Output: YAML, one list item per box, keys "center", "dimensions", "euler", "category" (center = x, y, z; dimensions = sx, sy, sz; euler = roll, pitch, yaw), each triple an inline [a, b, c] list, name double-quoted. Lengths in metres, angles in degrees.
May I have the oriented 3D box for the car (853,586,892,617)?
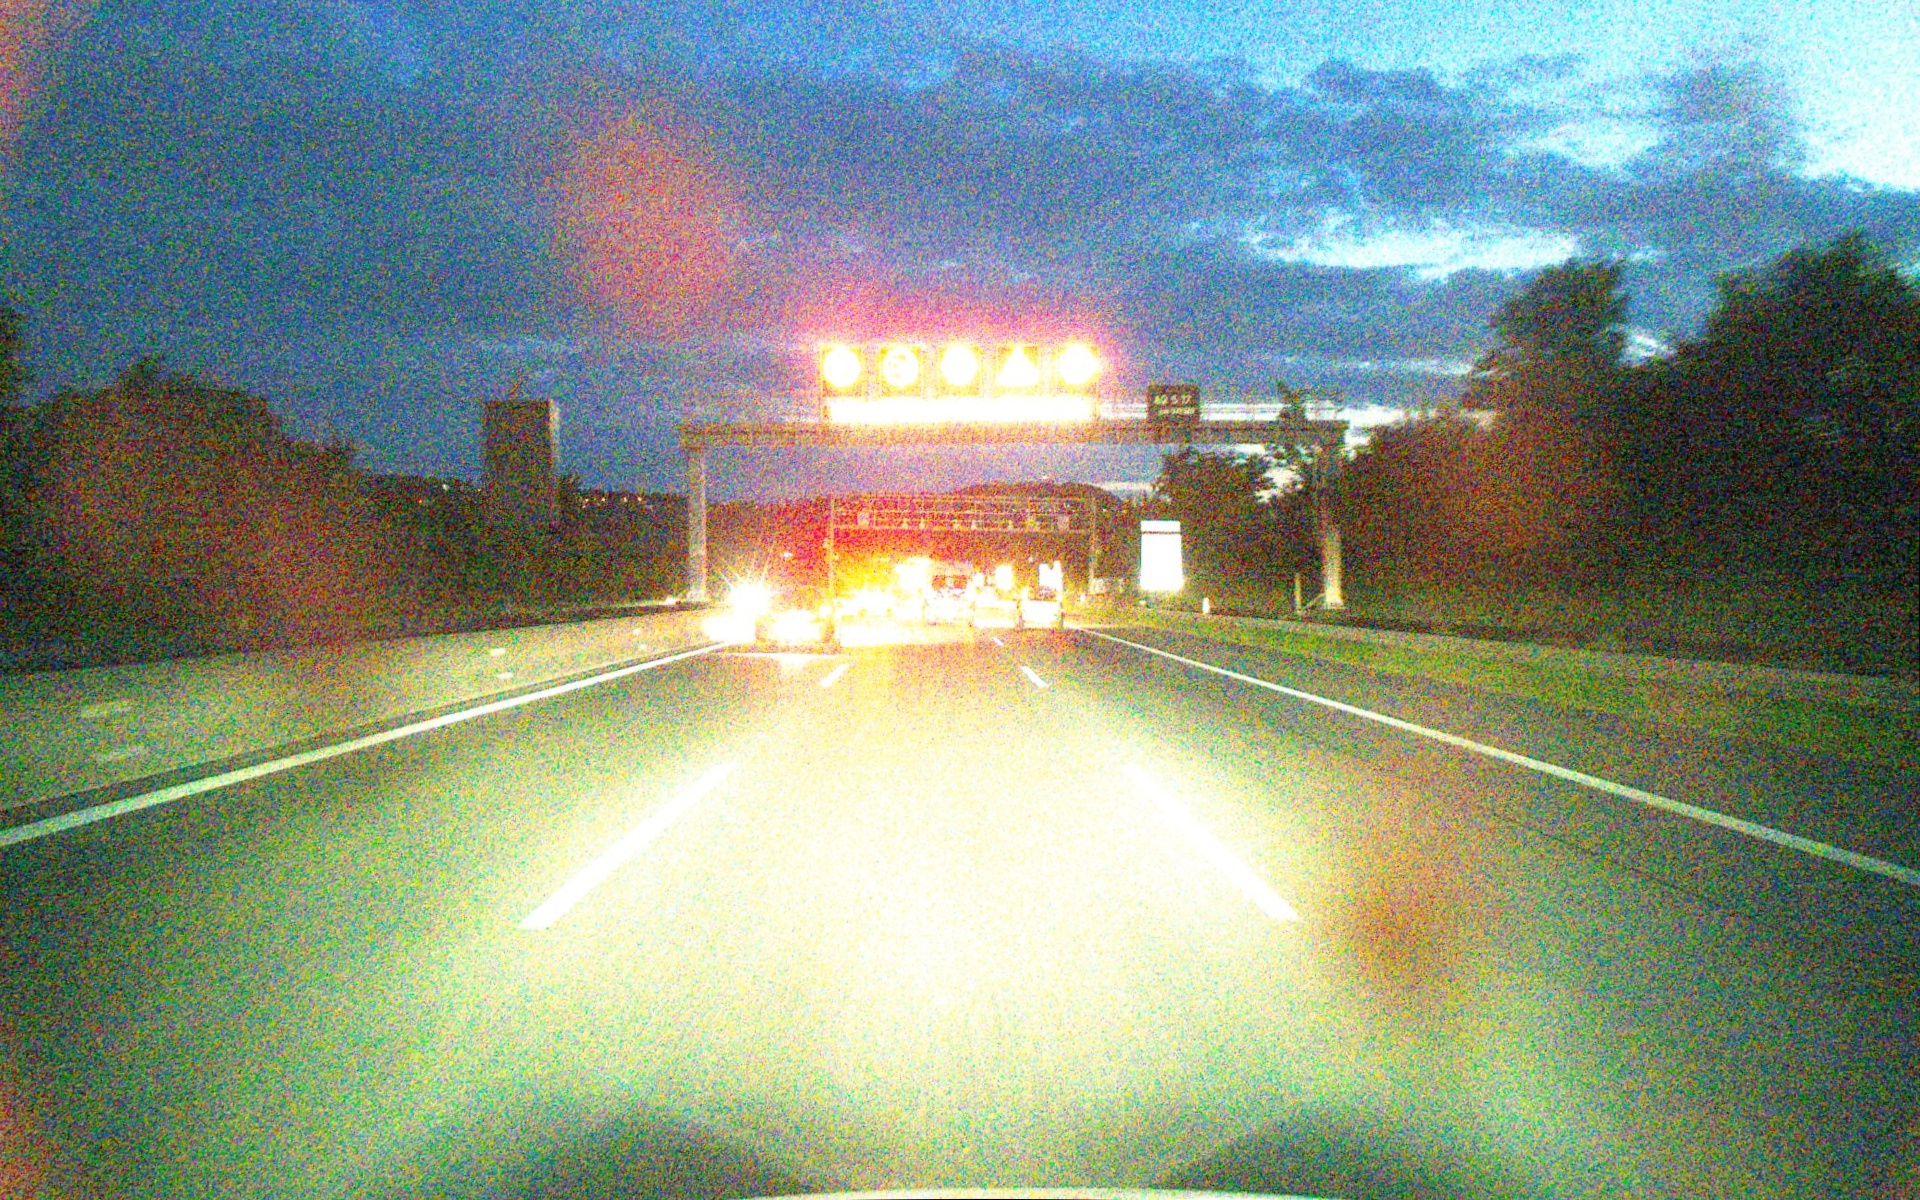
- center: [-4.258, 0.057, 81.168]
  dimensions: [1.709, 1.465, 4.367]
  euler: [-1, 1, 0]
  category: "car"

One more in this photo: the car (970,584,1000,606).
- center: [1.821, -0.371, 123.062]
  dimensions: [2.119, 1.591, 4.722]
  euler: [0, 0, 0]
  category: "car"

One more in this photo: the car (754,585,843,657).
- center: [-3.576, 0.429, 37.121]
  dimensions: [1.758, 1.494, 3.771]
  euler: [1, 1, -2]
  category: "car"

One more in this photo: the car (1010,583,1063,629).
- center: [2.780, 0.203, 60.816]
  dimensions: [1.613, 1.624, 4.508]
  euler: [1, 0, -1]
  category: "car"

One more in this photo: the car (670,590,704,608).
- center: [-20.717, -0.069, 125.485]
  dimensions: [1.864, 1.305, 4.349]
  euler: [-1, 1, 0]
  category: "car"

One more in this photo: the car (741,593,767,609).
- center: [-20.814, 0.052, 167.196]
  dimensions: [1.924, 1.564, 5.184]
  euler: [-1, 1, 0]
  category: "car"

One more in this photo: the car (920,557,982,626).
- center: [-0.357, -0.355, 65.059]
  dimensions: [2.303, 2.579, 5.700]
  euler: [-1, 1, 0]
  category: "car"
